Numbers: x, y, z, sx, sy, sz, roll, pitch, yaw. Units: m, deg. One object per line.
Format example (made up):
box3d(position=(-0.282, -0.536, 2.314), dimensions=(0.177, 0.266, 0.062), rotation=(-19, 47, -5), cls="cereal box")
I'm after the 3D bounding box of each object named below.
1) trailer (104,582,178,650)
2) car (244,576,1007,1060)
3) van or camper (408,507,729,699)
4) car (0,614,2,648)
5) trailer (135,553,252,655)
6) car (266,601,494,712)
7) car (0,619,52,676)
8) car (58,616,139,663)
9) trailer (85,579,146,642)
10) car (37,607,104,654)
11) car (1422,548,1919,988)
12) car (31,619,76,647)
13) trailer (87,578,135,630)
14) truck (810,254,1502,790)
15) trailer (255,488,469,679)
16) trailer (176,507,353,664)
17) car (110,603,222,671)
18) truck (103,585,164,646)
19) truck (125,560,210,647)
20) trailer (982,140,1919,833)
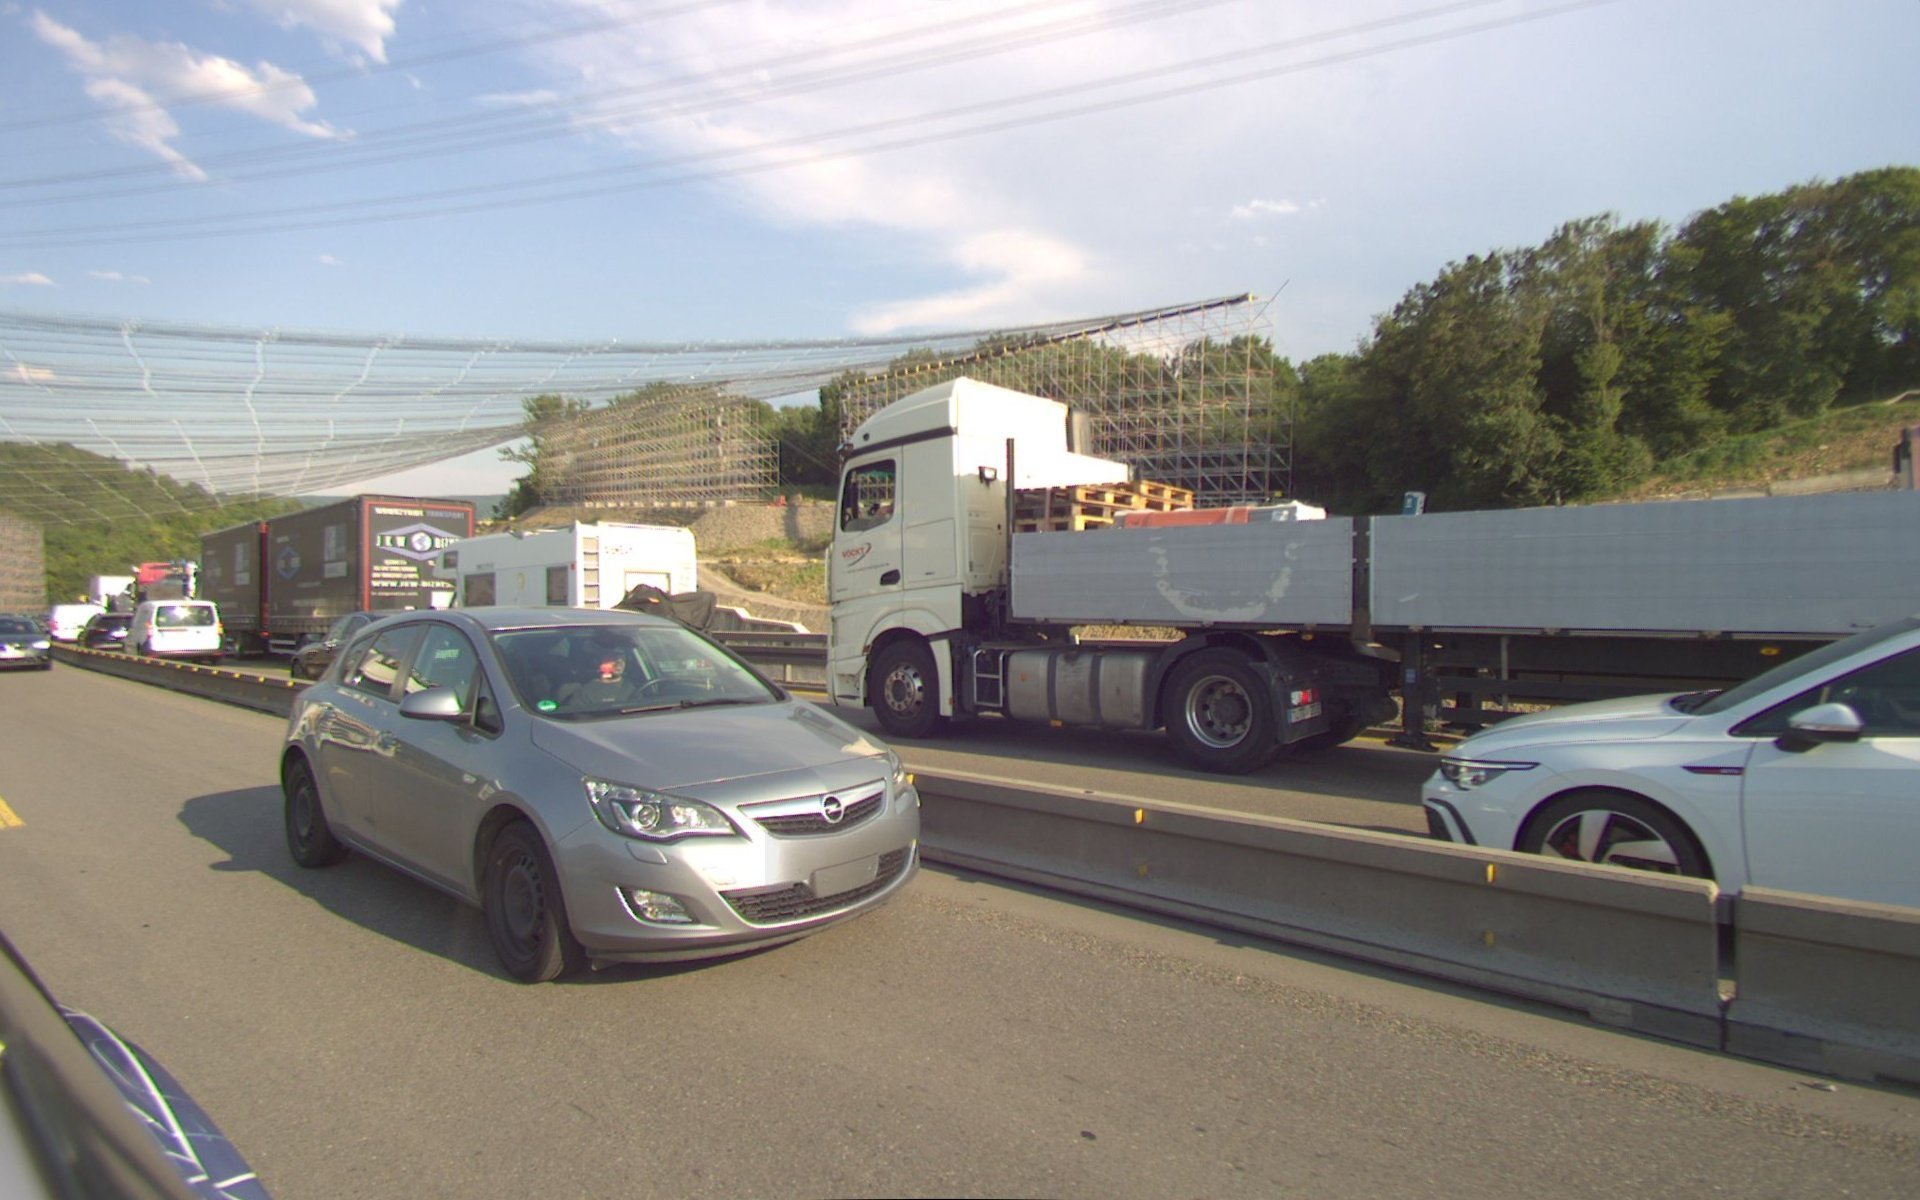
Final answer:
box3d(position=(-45.011, 0.865, 55.479), dimensions=(2.279, 3.387, 12.064), rotation=(0, -1, -43), cls="trailer")
box3d(position=(-2.004, 0.687, 5.194), dimensions=(4.350, 1.484, 1.738), rotation=(-1, 0, 41), cls="car")
box3d(position=(-7.538, 0.077, 18.796), dimensions=(7.616, 2.913, 2.382), rotation=(-1, -1, 42), cls="van or camper")
box3d(position=(-42.368, 1.324, 43.464), dimensions=(3.824, 1.394, 1.652), rotation=(-1, -1, 45), cls="car")
box3d(position=(-32.669, 0.200, 42.870), dimensions=(12.058, 3.819, 2.281), rotation=(-1, -1, 45), cls="trailer")
box3d(position=(-9.299, 0.794, 16.056), dimensions=(4.584, 1.523, 1.775), rotation=(-1, 0, 41), cls="car")
box3d(position=(-25.073, 1.206, 26.434), dimensions=(3.823, 1.394, 1.741), rotation=(-1, 0, 44), cls="car")
box3d(position=(-29.733, 1.325, 34.896), dimensions=(4.603, 1.490, 1.661), rotation=(-1, -1, 43), cls="car")
box3d(position=(-58.222, 0.730, 69.645), dimensions=(2.399, 3.993, 14.112), rotation=(0, -1, -43), cls="trailer")
box3d(position=(-39.537, 1.311, 44.946), dimensions=(4.836, 1.940, 1.797), rotation=(-1, -1, 43), cls="car")
box3d(position=(4.253, 0.574, 3.842), dimensions=(4.251, 1.519, 1.741), rotation=(-1, 0, 40), cls="car")
box3d(position=(-50.730, 1.810, 56.605), dimensions=(4.660, 1.437, 1.609), rotation=(-1, -1, 45), cls="car")
box3d(position=(-70.867, 0.379, 84.364), dimensions=(2.637, 4.046, 13.349), rotation=(0, -1, -42), cls="trailer")
box3d(position=(1.577, -0.525, 10.285), dimensions=(6.515, 3.782, 2.573), rotation=(-1, -1, 42), cls="truck")
box3d(position=(-15.626, -0.332, 26.101), dimensions=(8.543, 4.220, 2.416), rotation=(-1, -1, 43), cls="trailer")
box3d(position=(-22.628, -0.367, 32.588), dimensions=(10.510, 4.361, 2.449), rotation=(-1, -1, 43), cls="trailer")
box3d(position=(-21.785, 0.949, 27.716), dimensions=(4.453, 1.708, 1.738), rotation=(-1, -1, 43), cls="car")
box3d(position=(-48.961, 0.902, 59.899), dimensions=(2.385, 3.395, 5.623), rotation=(0, -1, -43), cls="truck")
box3d(position=(-36.826, 0.185, 46.959), dimensions=(5.619, 3.813, 2.405), rotation=(-1, -1, 44), cls="truck")
box3d(position=(6.325, -0.620, 6.149), dimensions=(13.969, 3.753, 2.494), rotation=(-1, -1, 41), cls="trailer")
